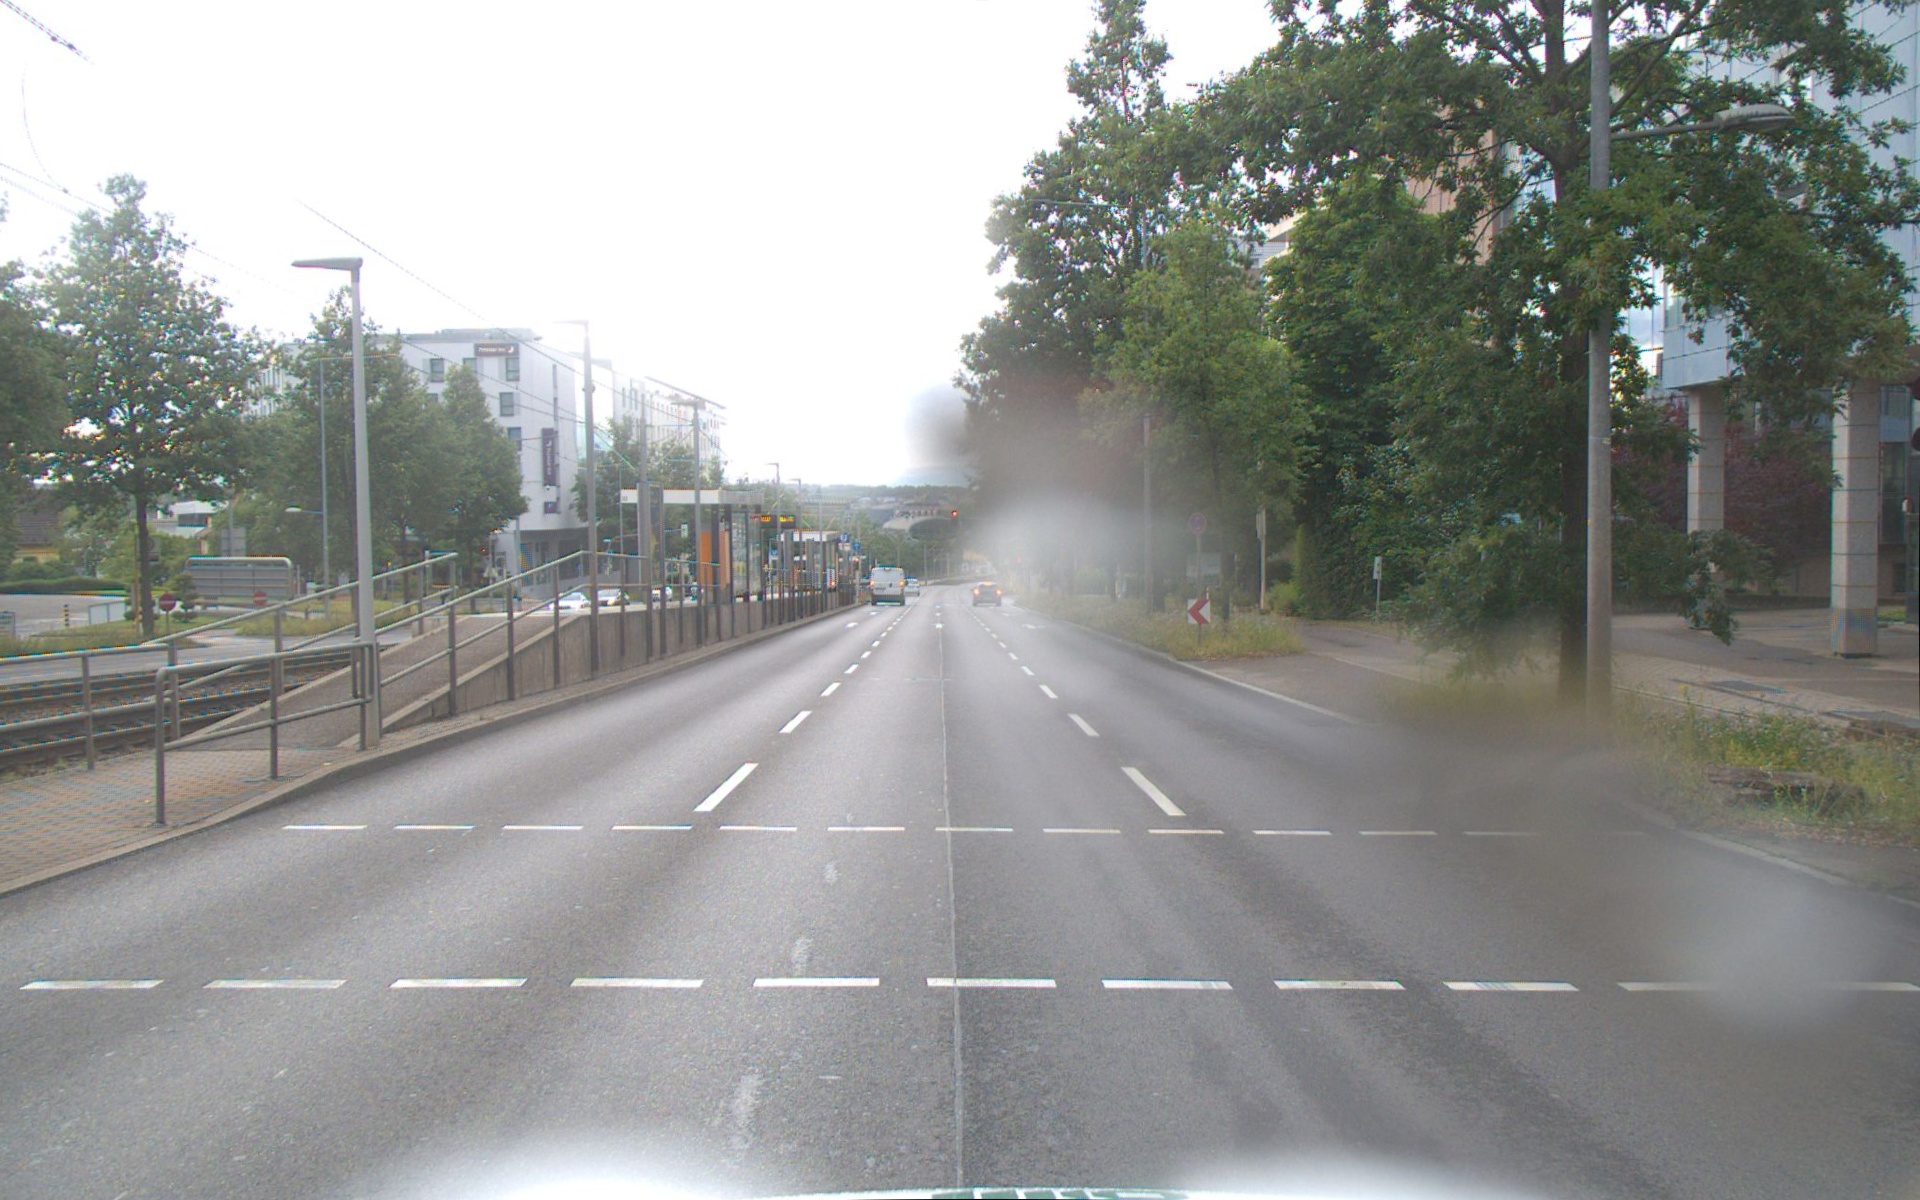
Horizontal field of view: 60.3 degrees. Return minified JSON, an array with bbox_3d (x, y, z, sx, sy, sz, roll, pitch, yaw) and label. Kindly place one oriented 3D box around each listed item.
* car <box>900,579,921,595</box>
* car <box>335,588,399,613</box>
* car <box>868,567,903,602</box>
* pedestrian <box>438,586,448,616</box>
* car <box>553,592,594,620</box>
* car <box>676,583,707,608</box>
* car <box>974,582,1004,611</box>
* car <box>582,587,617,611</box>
[{"bbox_3d":[-4.437,-1.207,149.649,1.746,1.414,4.001,0,1,1],"label":"car"},{"bbox_3d":[-34.216,0.007,95.435,3.297,1.411,1.434,0,1,16],"label":"car"},{"bbox_3d":[-4.570,-0.974,102.372,2.050,2.089,4.605,0,1,-1],"label":"car"},{"bbox_3d":[-34.370,0.077,109.943,0.465,1.954,0.490,0,0,-1],"label":"pedestrian"},{"bbox_3d":[-21.661,0.312,92.775,1.618,1.461,3.876,-2,1,-5],"label":"car"},{"bbox_3d":[-17.142,-0.293,105.517,1.622,1.461,3.866,-2,1,-14],"label":"car"},{"bbox_3d":[1.787,-0.228,102.806,1.738,1.720,3.845,0,1,-1],"label":"car"},{"bbox_3d":[-22.130,-0.055,101.703,1.536,1.402,3.517,0,1,-3],"label":"car"}]
